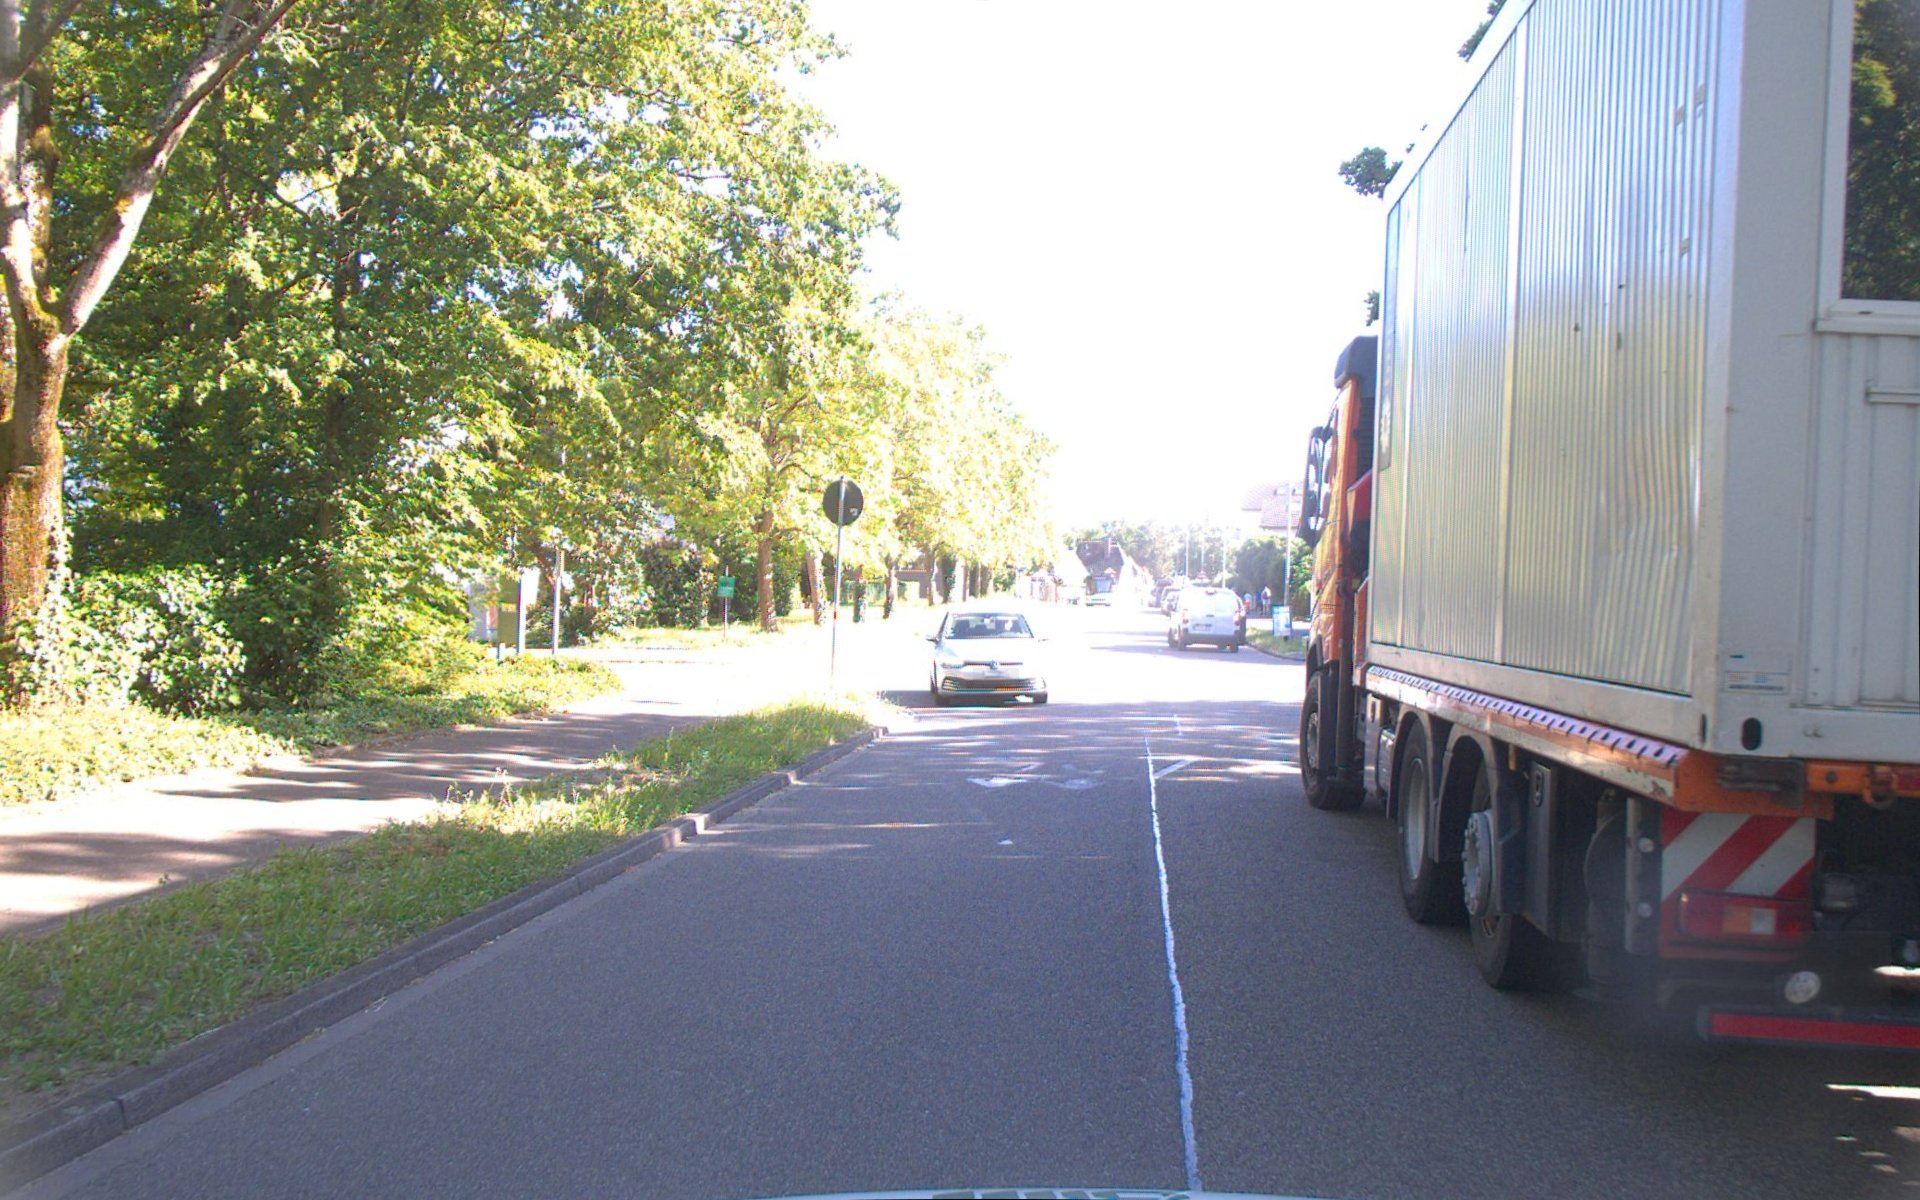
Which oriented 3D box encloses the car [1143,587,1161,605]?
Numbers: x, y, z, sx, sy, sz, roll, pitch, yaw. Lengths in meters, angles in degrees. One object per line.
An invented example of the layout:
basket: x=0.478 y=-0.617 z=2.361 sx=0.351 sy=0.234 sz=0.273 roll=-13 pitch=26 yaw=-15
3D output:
car: x=20.031 y=-0.449 z=172.442 sx=1.743 sy=1.840 sz=4.002 roll=0 pitch=0 yaw=5

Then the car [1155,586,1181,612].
car: x=14.989 y=-0.077 z=119.442 sx=1.743 sy=1.840 sz=4.002 roll=0 pitch=0 yaw=5

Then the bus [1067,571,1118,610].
bus: x=11.910 y=-0.822 z=147.658 sx=3.978 sy=3.408 sz=9.808 roll=0 pitch=0 yaw=8

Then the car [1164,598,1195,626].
car: x=13.539 y=0.749 z=102.083 sx=1.743 sy=1.681 sz=4.002 roll=0 pitch=0 yaw=5

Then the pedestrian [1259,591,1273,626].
pedestrian: x=18.152 y=0.494 z=98.134 sx=0.628 sy=2.048 sz=0.701 roll=3 pitch=0 yaw=-1

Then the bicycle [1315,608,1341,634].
bicycle: x=15.271 y=0.880 z=68.569 sx=0.624 sy=1.045 sz=2.163 roll=3 pitch=0 yaw=24

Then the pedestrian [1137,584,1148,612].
pedestrian: x=14.279 y=-0.148 z=129.357 sx=0.736 sy=2.150 sz=0.799 roll=3 pitch=0 yaw=9

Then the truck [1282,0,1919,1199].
truck: x=3.733 y=-0.433 z=9.040 sx=2.714 sy=4.065 sz=10.355 roll=2 pitch=0 yaw=5

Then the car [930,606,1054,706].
car: x=0.439 y=0.837 z=26.429 sx=1.769 sy=1.445 sz=3.958 roll=-1 pitch=0 yaw=-2

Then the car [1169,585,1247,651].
car: x=7.432 y=0.522 z=49.894 sx=1.906 sy=1.875 sz=4.001 roll=1 pitch=0 yaw=3
